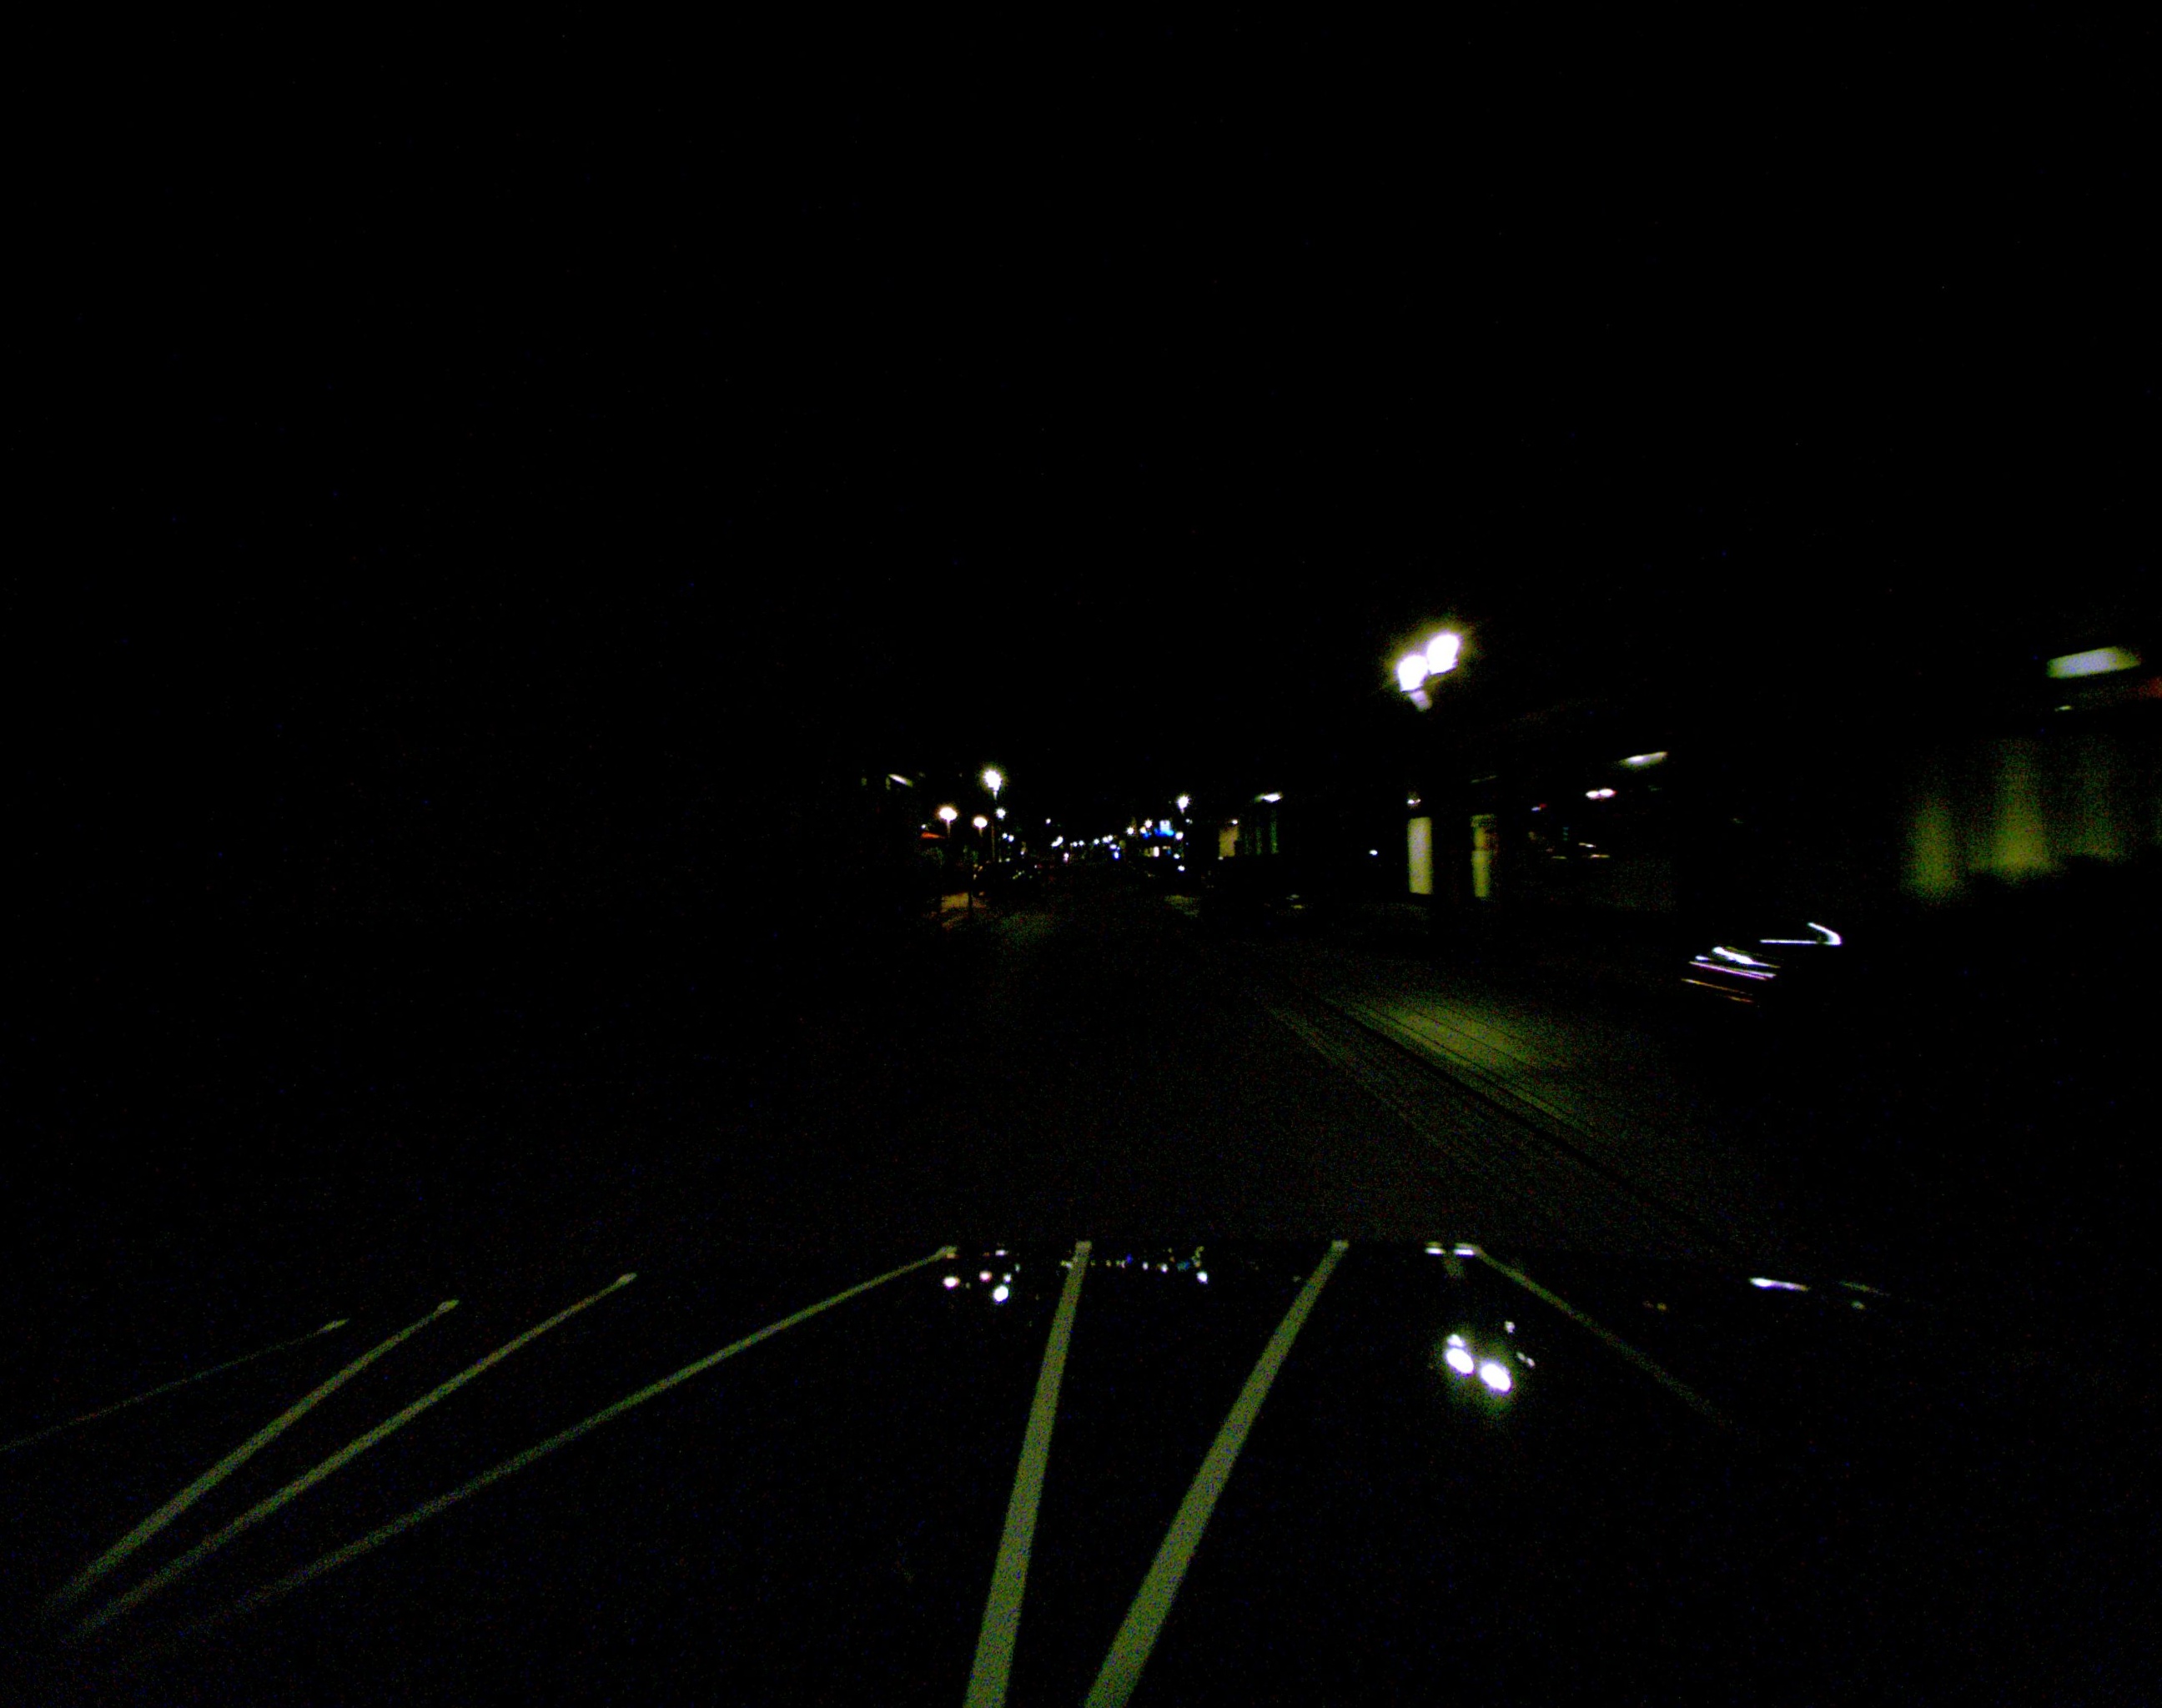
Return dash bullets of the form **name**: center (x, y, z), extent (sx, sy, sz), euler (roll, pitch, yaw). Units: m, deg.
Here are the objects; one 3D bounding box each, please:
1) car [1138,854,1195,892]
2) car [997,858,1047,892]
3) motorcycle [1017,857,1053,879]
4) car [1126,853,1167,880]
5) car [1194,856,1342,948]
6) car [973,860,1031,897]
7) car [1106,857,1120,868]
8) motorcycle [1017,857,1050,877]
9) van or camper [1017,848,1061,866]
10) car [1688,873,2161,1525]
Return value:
- **car**: center (3.654, 0.776, 33.214), extent (1.850, 1.455, 4.622), euler (-3, 0, -1)
- **car**: center (-2.777, 0.965, 36.447), extent (1.757, 1.455, 4.468), euler (1, 0, 4)
- **motorcycle**: center (-2.959, 0.876, 48.741), extent (2.265, 1.383, 0.662), euler (0, 1, 25)
- **car**: center (3.836, 0.721, 45.313), extent (1.905, 1.461, 4.524), euler (-2, 0, -2)
- **car**: center (3.530, 0.827, 15.161), extent (1.802, 1.469, 4.321), euler (-3, 0, 0)
- **car**: center (-3.161, 0.951, 31.119), extent (1.665, 1.369, 4.105), euler (1, 0, 4)
- **car**: center (4.397, 1.116, 104.133), extent (1.655, 1.417, 4.014), euler (-4, 0, -1)
- **motorcycle**: center (-3.145, 0.862, 50.114), extent (2.165, 1.290, 0.516), euler (0, 1, 29)
- **van or camper**: center (-6.148, 0.439, 111.464), extent (6.061, 2.518, 2.157), euler (-1, 0, -31)
- **car**: center (3.327, 0.819, 0.898), extent (1.721, 1.404, 4.385), euler (-3, 0, 1)
